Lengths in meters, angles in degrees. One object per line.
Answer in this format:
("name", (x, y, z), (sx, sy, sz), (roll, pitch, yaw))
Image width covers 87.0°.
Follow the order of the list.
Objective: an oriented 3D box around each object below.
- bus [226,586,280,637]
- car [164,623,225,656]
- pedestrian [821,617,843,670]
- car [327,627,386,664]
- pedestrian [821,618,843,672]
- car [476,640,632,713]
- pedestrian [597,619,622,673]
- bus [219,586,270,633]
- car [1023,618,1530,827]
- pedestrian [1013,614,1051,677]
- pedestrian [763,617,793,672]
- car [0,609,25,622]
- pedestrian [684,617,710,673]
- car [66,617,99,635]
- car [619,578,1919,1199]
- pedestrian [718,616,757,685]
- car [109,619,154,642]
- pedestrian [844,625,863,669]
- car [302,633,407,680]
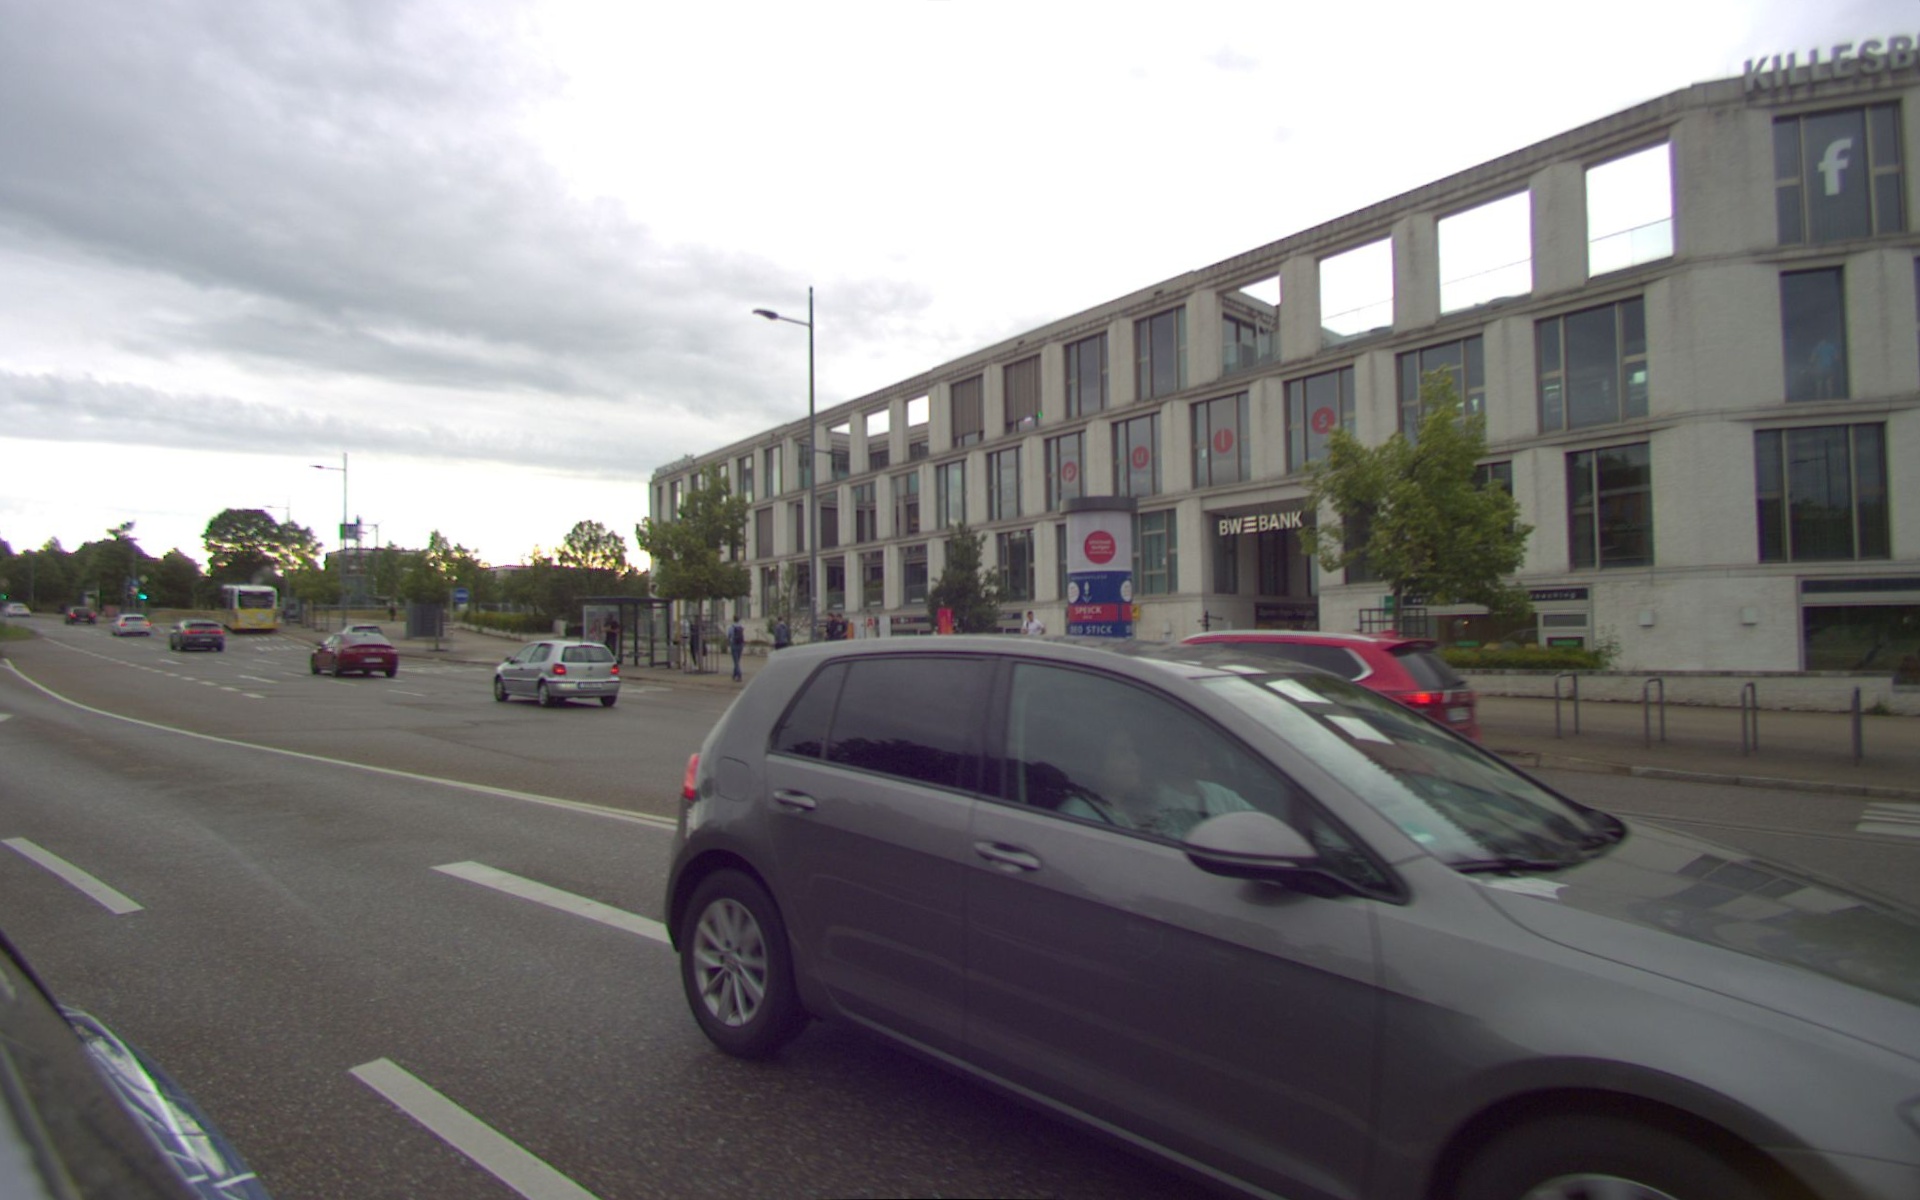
("bus", (-52.124, 0.768, 74.513), (2.785, 3.498, 8.247), (-1, 1, -39))
("car", (-40.139, 2.043, 53.042), (4.595, 1.584, 1.811), (0, -4, 44))
("pedestrian", (-4.296, 1.449, 33.992), (0.518, 1.738, 0.567), (1, -2, -44))
("car", (-27.500, 2.056, 46.077), (2.973, 1.519, 1.595), (0, 0, 44))
("pedestrian", (-4.154, 1.444, 32.760), (0.621, 1.738, 0.421), (-1, -2, 45))
("car", (-9.035, 1.646, 22.379), (3.880, 1.427, 1.742), (-2, -5, 44))
("pedestrian", (-12.209, 1.597, 35.247), (0.755, 1.856, 0.501), (-1, -2, 43))
("bus", (-57.770, 0.646, 81.622), (2.785, 3.498, 9.994), (-1, 1, -38))
("car", (3.060, 1.100, 10.569), (4.739, 1.696, 1.832), (-2, -5, 44))
("pedestrian", (1.985, 1.232, 27.871), (0.911, 1.703, 0.494), (-1, -1, 28))
("pedestrian", (-5.978, 1.463, 33.296), (0.591, 1.775, 0.858), (1, -2, -44))
("car", (-103.770, 1.706, 110.658), (4.514, 1.429, 1.971), (0, -1, 44))
("pedestrian", (-8.763, 1.486, 33.725), (0.607, 1.870, 0.574), (-1, -2, 42))
("car", (-75.555, 2.216, 87.121), (3.868, 1.473, 1.826), (0, -2, 44))
("car", (0.912, 0.758, 3.027), (4.195, 1.441, 1.786), (-1, -4, 42))
("pedestrian", (-6.127, 1.364, 27.867), (0.744, 1.856, 0.747), (1, -2, -44))
("car", (-56.913, 2.090, 69.475), (4.177, 1.441, 1.852), (0, -4, 44))
("pedestrian", (-3.581, 1.580, 34.050), (0.510, 1.462, 0.421), (-1, -2, 45))
("car", (-20.060, 1.835, 33.453), (4.467, 1.427, 1.811), (-2, -5, 44))
